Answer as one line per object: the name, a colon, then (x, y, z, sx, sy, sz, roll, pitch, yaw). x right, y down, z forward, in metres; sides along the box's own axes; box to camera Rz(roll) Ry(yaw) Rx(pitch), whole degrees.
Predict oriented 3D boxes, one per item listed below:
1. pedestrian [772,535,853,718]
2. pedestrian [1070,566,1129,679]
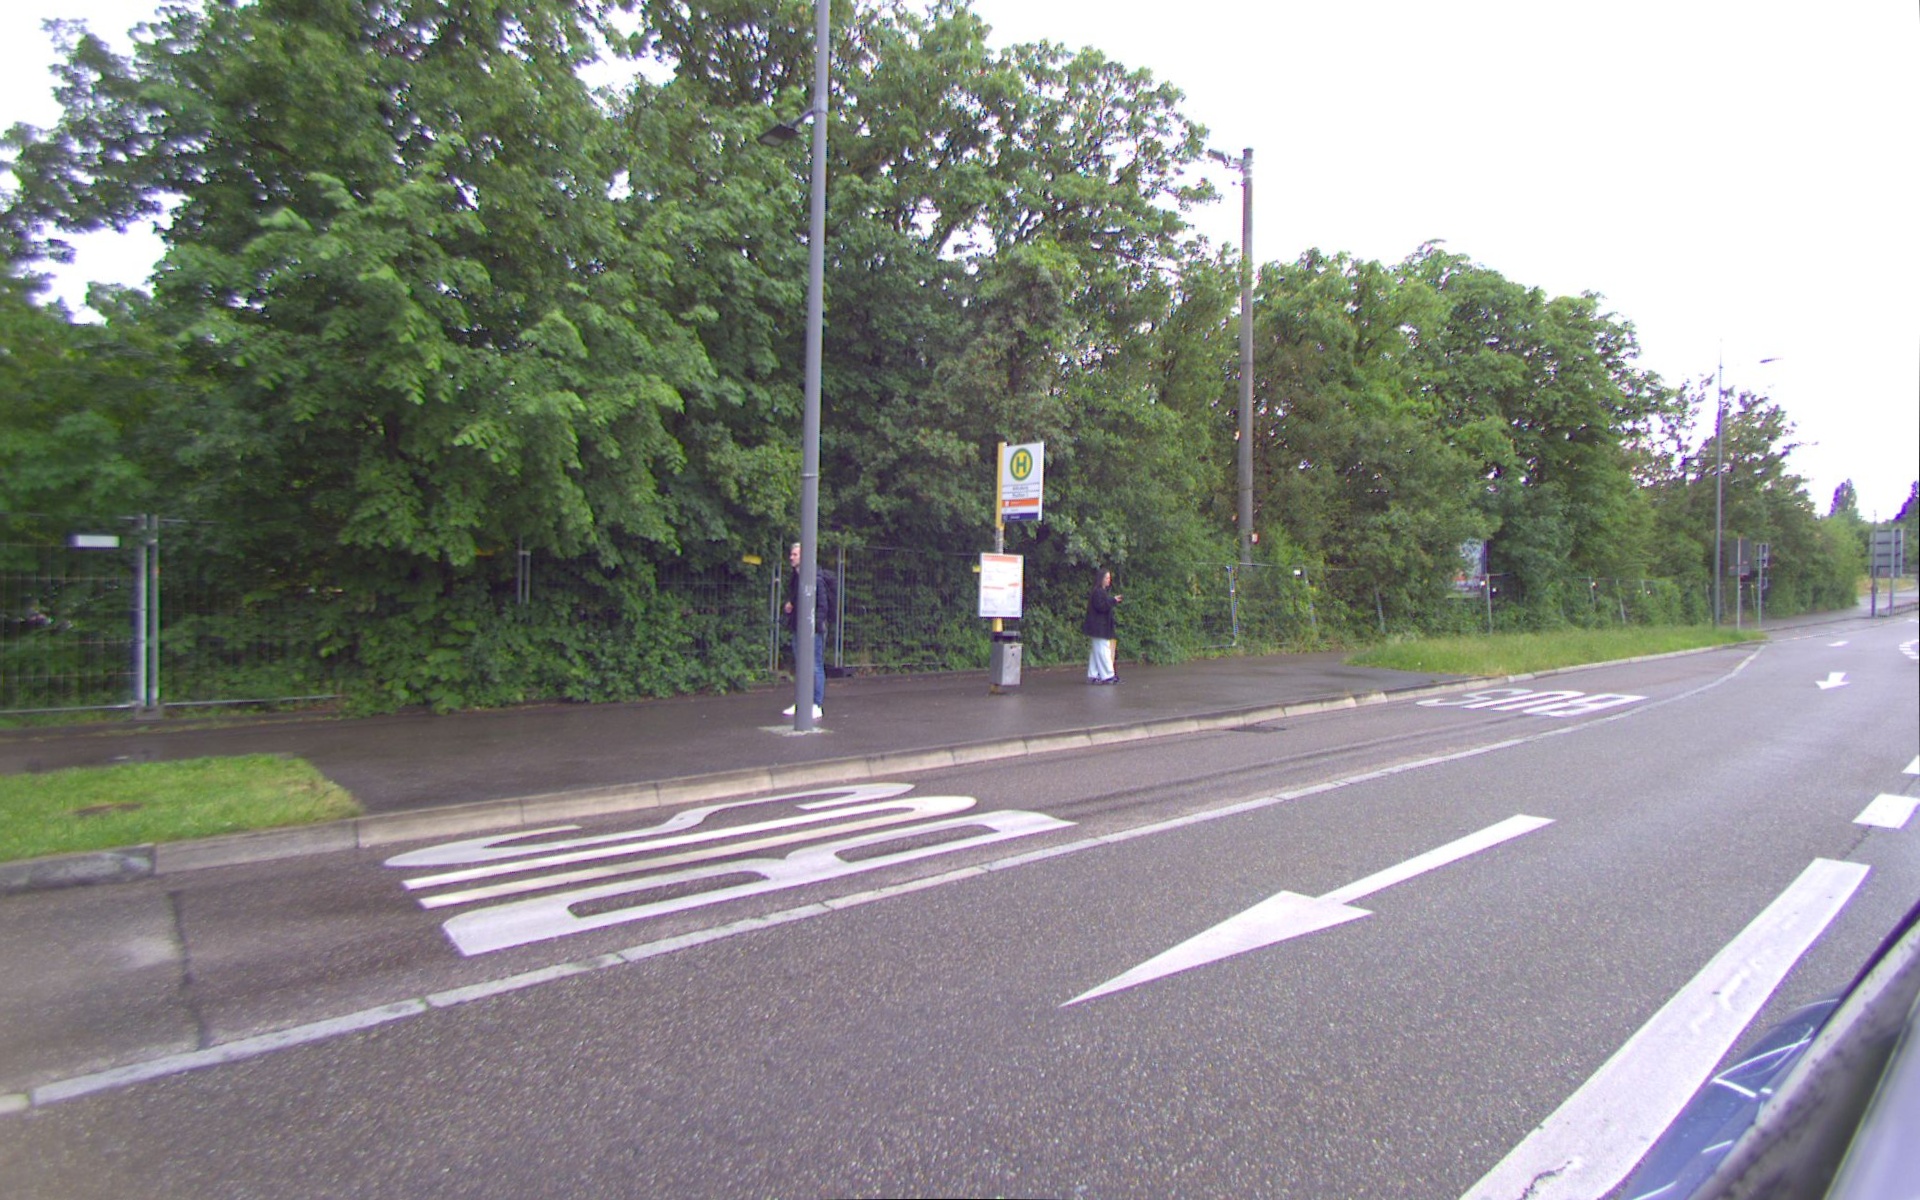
pedestrian: (-1.664, 0.273, 11.388, 0.587, 1.973, 0.742, 0, 1, -40)
pedestrian: (2.098, 0.326, 15.212, 0.650, 1.648, 0.588, 0, 1, -40)
